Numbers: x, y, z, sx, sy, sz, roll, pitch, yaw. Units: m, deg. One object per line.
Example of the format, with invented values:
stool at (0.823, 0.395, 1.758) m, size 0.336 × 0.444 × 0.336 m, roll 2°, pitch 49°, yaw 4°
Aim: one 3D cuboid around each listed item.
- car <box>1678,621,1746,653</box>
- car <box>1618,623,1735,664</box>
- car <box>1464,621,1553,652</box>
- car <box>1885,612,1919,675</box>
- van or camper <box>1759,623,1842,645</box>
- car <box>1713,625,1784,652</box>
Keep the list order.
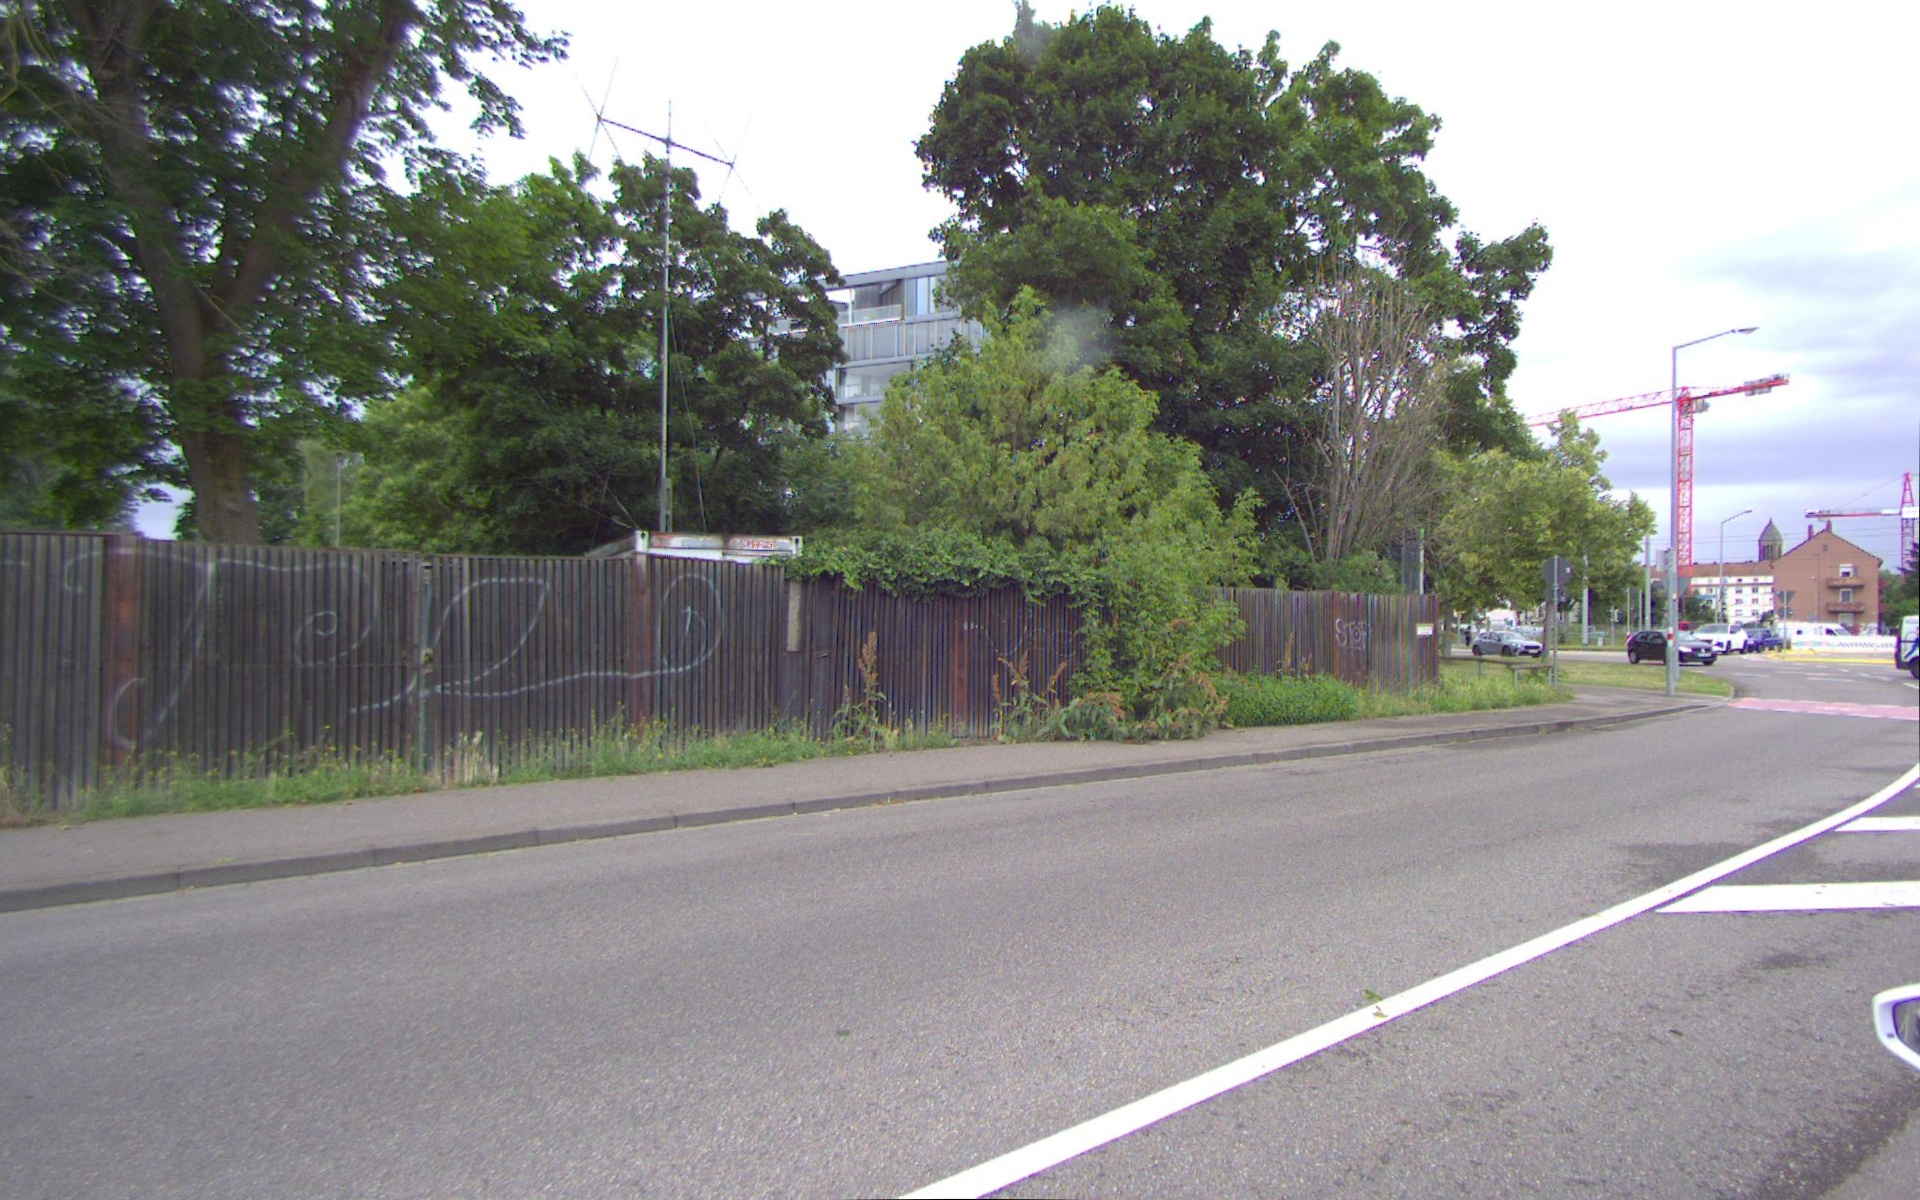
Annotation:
car at (40.726, 1.980, 54.378) m, size 4.152 × 1.706 × 1.916 m, roll 1°, pitch -1°, yaw -38°
car at (30.104, 1.806, 42.406) m, size 2.056 × 1.624 × 4.443 m, roll 0°, pitch -1°, yaw 5°
car at (29.538, 1.943, 54.284) m, size 2.060 × 1.624 × 4.436 m, roll 0°, pitch -1°, yaw -7°
car at (30.505, 1.316, 29.385) m, size 2.061 × 1.925 × 4.841 m, roll 1°, pitch -1°, yaw -9°
van or camper at (82.715, 3.297, 98.976) m, size 1.969 × 2.040 × 6.171 m, roll 1°, pitch -1°, yaw -19°
car at (45.792, 2.239, 58.309) m, size 3.953 × 1.509 × 1.922 m, roll 1°, pitch -1°, yaw -30°
